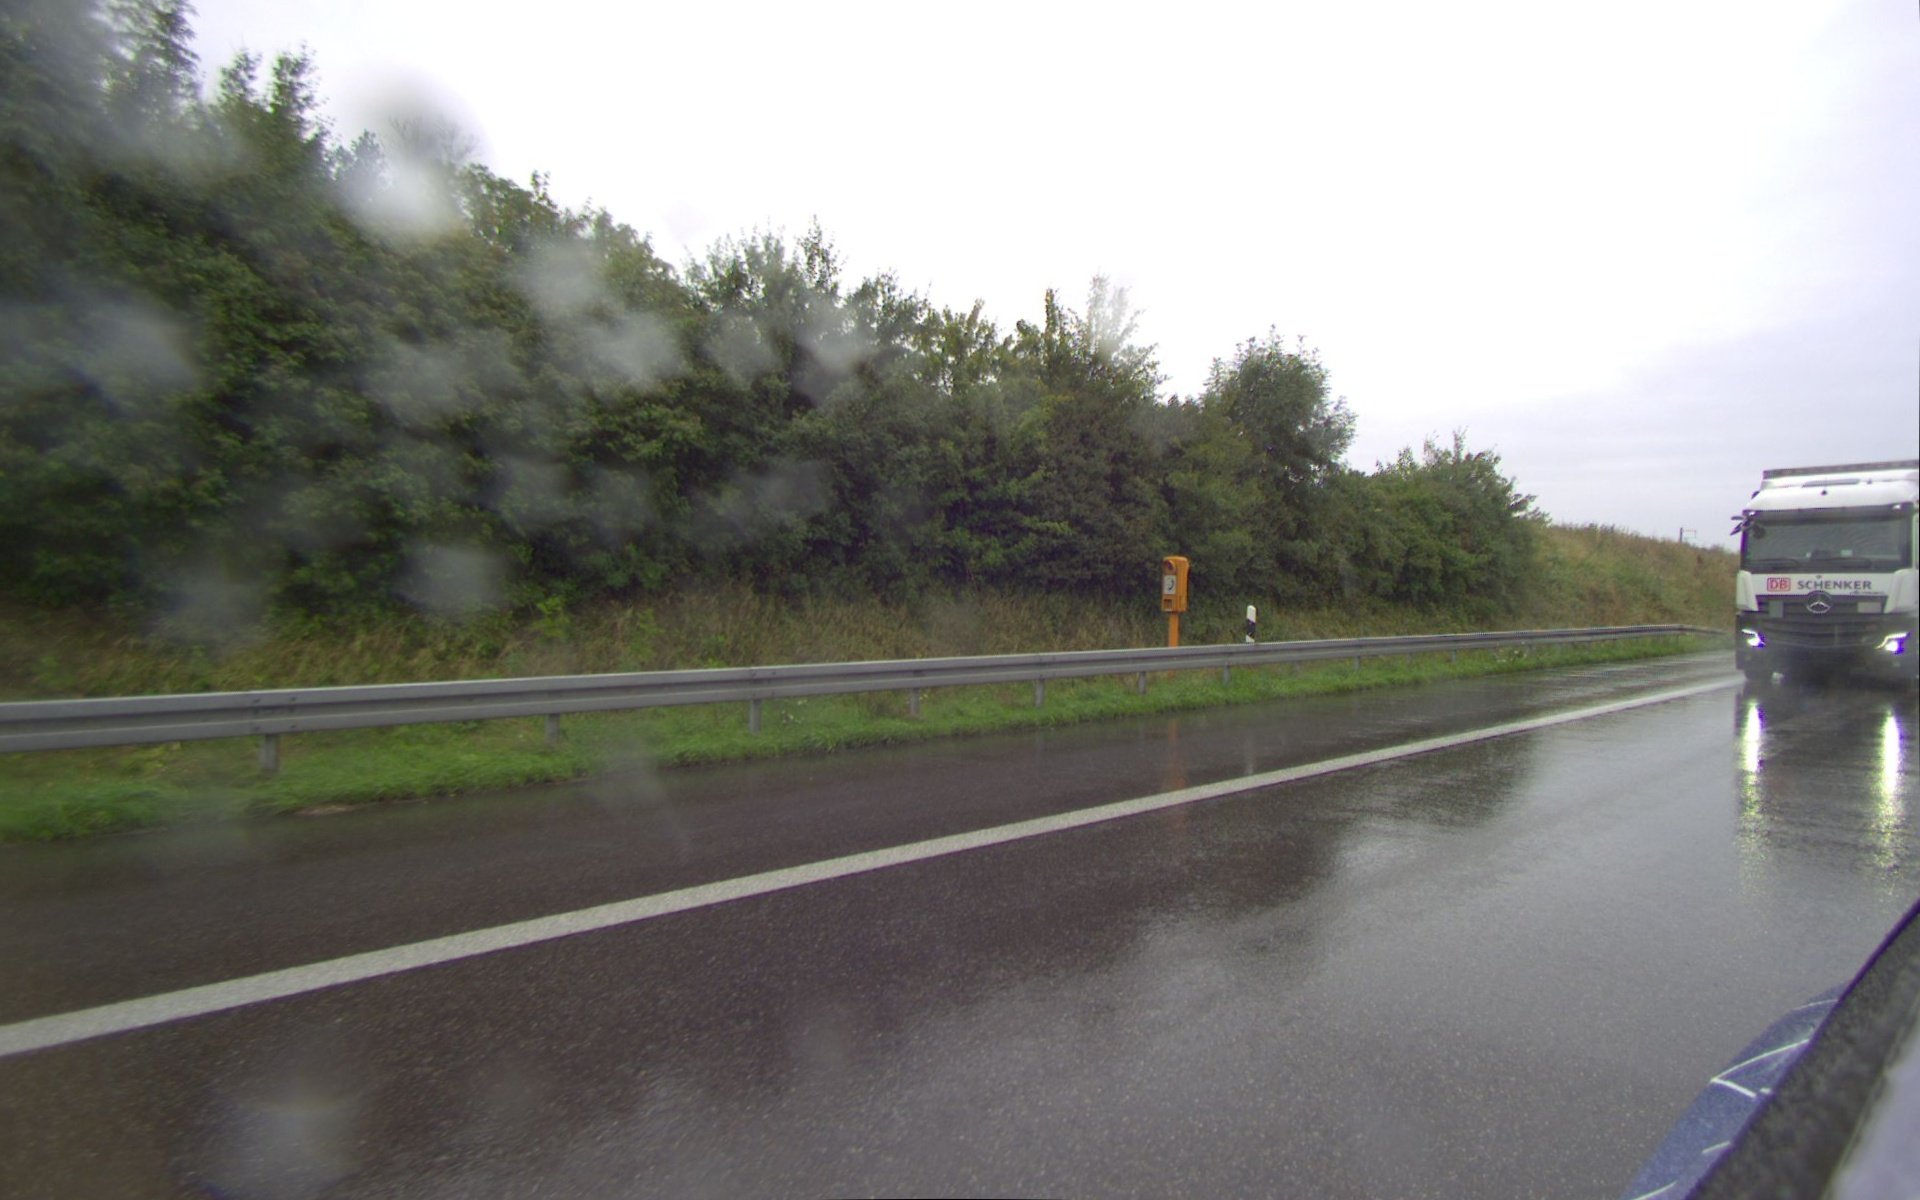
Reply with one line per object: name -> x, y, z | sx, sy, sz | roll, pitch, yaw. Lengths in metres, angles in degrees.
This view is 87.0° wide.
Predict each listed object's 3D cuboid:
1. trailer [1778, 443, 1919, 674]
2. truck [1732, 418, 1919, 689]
trailer -> 22.663, -0.832, 24.030 | 13.928, 4.302, 2.631 | 0, 0, -41
truck -> 16.416, -0.766, 18.609 | 4.956, 4.307, 2.630 | 0, 0, -41
